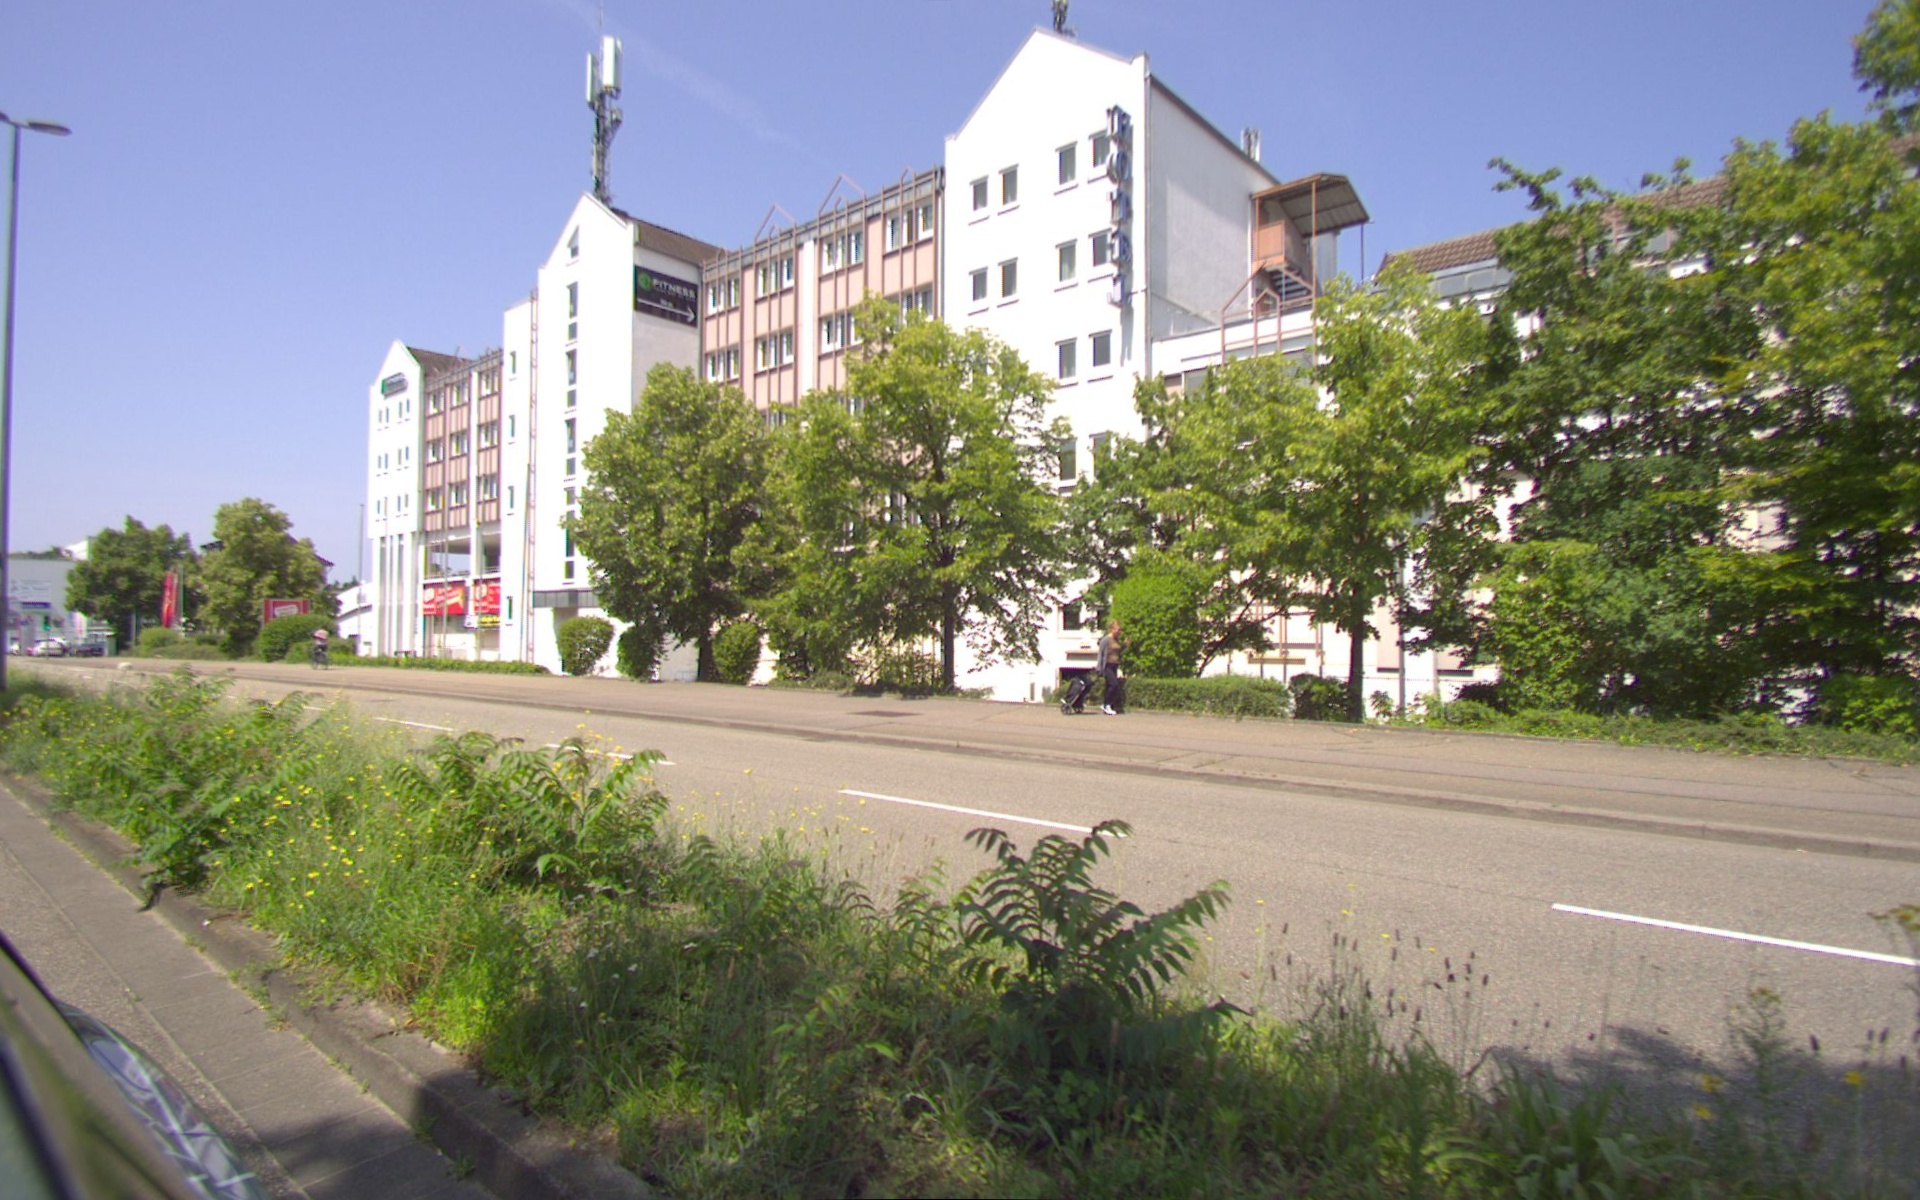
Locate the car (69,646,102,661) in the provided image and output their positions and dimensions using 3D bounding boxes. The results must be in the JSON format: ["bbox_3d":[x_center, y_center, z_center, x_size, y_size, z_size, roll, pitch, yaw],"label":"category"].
[{"bbox_3d":[-84.315,5.132,97.535,3.995,1.362,1.715,-2,-4,39],"label":"car"}]

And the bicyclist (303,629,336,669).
[{"bbox_3d":[-24.668,1.878,38.969,1.025,1.528,0.710,-2,-3,37],"label":"bicyclist"}]

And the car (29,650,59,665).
[{"bbox_3d":[-86.881,5.451,96.013,4.760,1.421,1.756,-3,-5,44],"label":"car"}]

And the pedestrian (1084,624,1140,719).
[{"bbox_3d":[2.573,1.193,17.166,0.727,1.556,0.626,-2,-3,41],"label":"pedestrian"}]

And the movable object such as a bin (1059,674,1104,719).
[{"bbox_3d":[2.039,1.608,16.993,0.423,0.711,0.653,3,-3,-41],"label":"movable object such as a bin"}]

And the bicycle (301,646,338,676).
[{"bbox_3d":[-24.625,2.329,38.911,2.060,1.081,0.545,-2,-2,38],"label":"bicycle"}]

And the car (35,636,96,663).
[{"bbox_3d":[-94.520,5.163,106.959,1.761,1.719,4.504,-1,12,44],"label":"car"}]
